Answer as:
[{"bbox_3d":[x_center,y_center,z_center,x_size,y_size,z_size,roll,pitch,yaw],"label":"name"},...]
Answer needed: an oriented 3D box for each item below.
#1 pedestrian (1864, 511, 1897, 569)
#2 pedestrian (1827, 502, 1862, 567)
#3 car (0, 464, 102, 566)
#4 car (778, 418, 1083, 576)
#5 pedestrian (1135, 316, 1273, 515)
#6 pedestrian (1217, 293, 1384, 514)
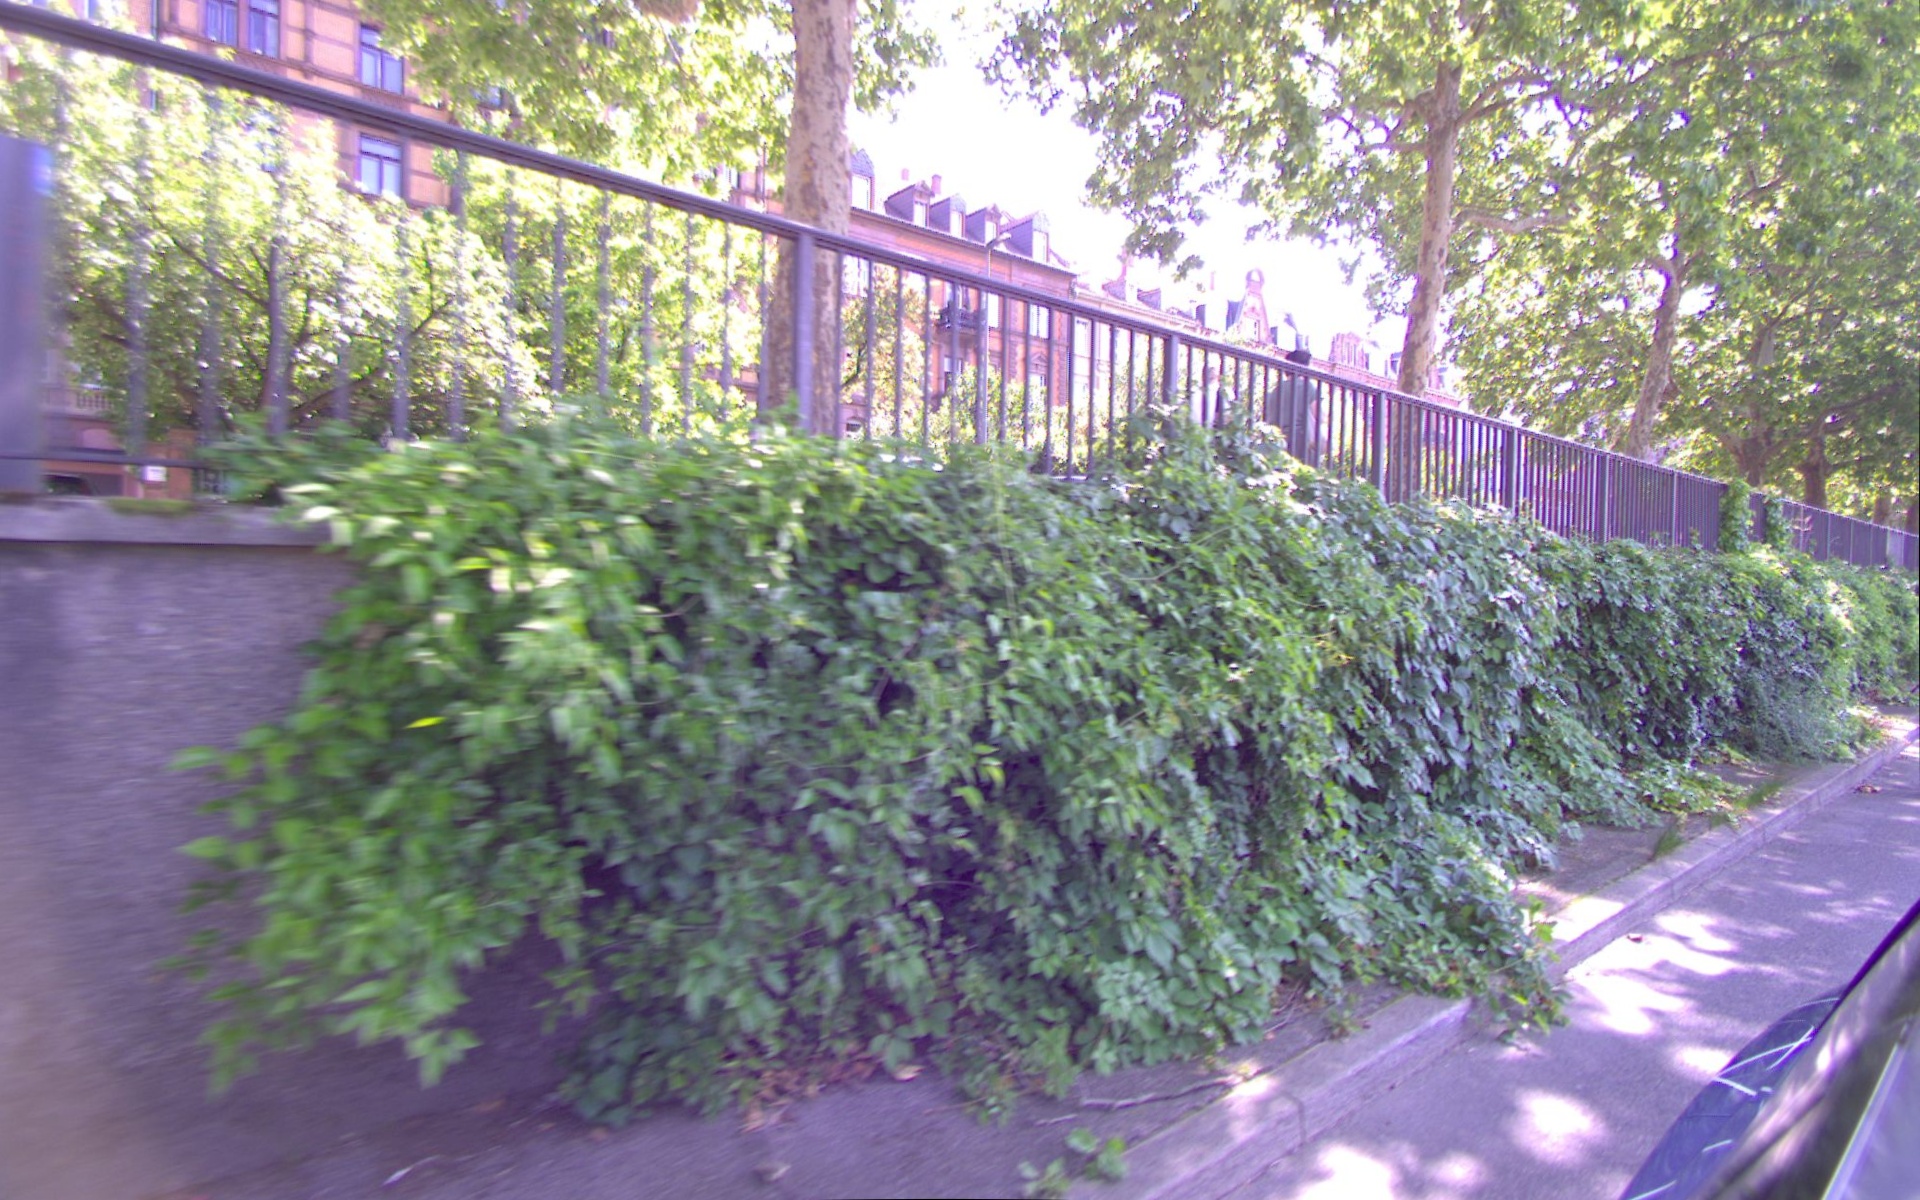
[{"bbox_3d":[23.482,-1.531,25.826,0.584,1.437,0.580,2,1,42],"label":"pedestrian"},{"bbox_3d":[22.977,-1.687,26.302,0.646,1.660,0.617,2,1,42],"label":"pedestrian"},{"bbox_3d":[-16.129,-1.399,17.607,1.759,1.556,3.793,1,1,-40],"label":"car"},{"bbox_3d":[-0.471,-0.968,10.118,1.484,1.250,3.540,1,4,-31],"label":"car"},{"bbox_3d":[1.874,-1.368,7.774,0.781,1.382,0.645,0,3,-42],"label":"pedestrian"},{"bbox_3d":[2.393,-1.323,7.130,0.800,1.382,0.754,0,3,-42],"label":"pedestrian"}]
